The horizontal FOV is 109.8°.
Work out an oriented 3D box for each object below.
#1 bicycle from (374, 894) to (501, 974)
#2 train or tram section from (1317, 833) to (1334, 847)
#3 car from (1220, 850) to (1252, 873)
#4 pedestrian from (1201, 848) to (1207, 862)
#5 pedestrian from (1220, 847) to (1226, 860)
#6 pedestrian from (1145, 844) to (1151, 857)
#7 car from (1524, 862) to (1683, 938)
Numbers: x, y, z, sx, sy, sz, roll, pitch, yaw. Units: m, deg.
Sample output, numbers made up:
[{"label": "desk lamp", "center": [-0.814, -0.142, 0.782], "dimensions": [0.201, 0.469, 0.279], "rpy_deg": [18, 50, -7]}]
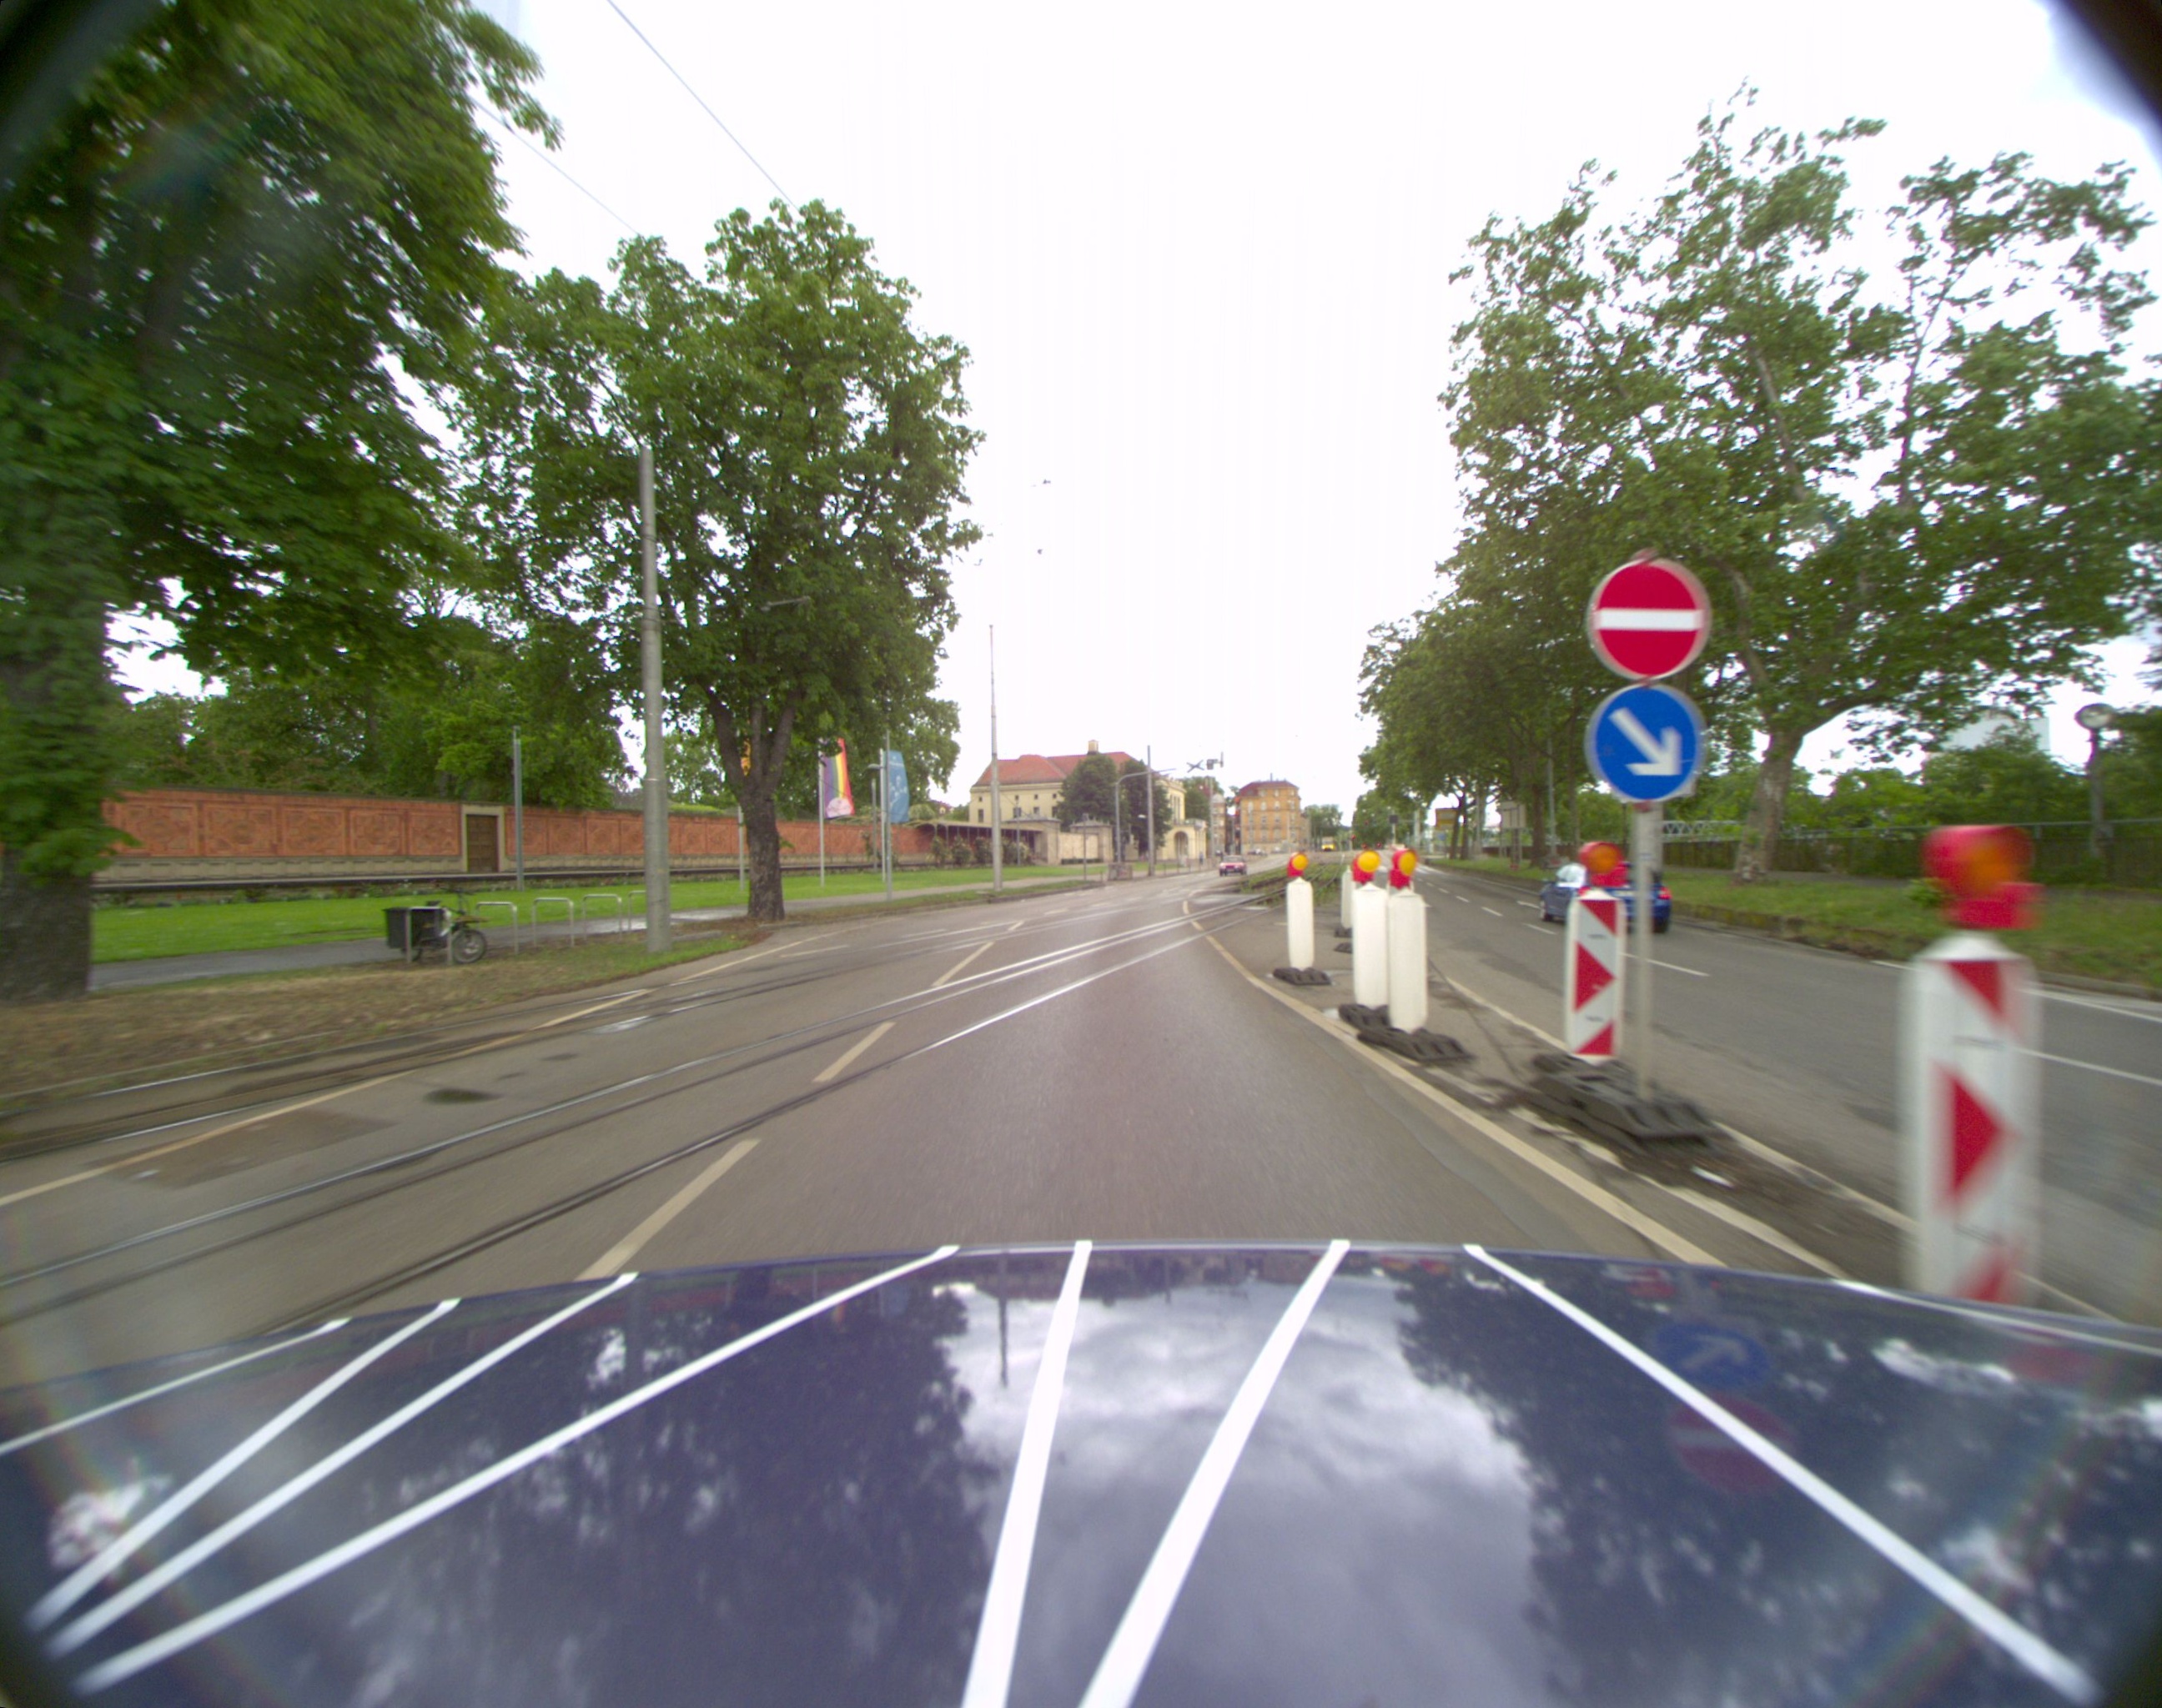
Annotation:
[{"label": "bicycle", "center": [-10.383, 1.257, 12.252], "dimensions": [1.993, 1.151, 0.742], "rpy_deg": [-1, 1, 24]}, {"label": "train or tram section", "center": [61.041, -3.538, 189.355], "dimensions": [3.734, 3.346, 17.577], "rpy_deg": [0, 2, 18]}, {"label": "car", "center": [11.177, 0.516, 54.640], "dimensions": [1.679, 1.433, 4.125], "rpy_deg": [-3, 0, 19]}, {"label": "pedestrian", "center": [15.566, 0.162, 96.163], "dimensions": [0.671, 1.757, 0.938], "rpy_deg": [-1, 1, 19]}, {"label": "pedestrian", "center": [19.555, -0.064, 104.473], "dimensions": [0.671, 1.757, 0.938], "rpy_deg": [-1, 1, 19]}, {"label": "pedestrian", "center": [8.932, -0.436, 101.241], "dimensions": [0.595, 1.782, 0.809], "rpy_deg": [-1, 1, 19]}, {"label": "car", "center": [11.175, 0.899, 16.571], "dimensions": [1.697, 1.453, 3.918], "rpy_deg": [0, -1, 16]}]
